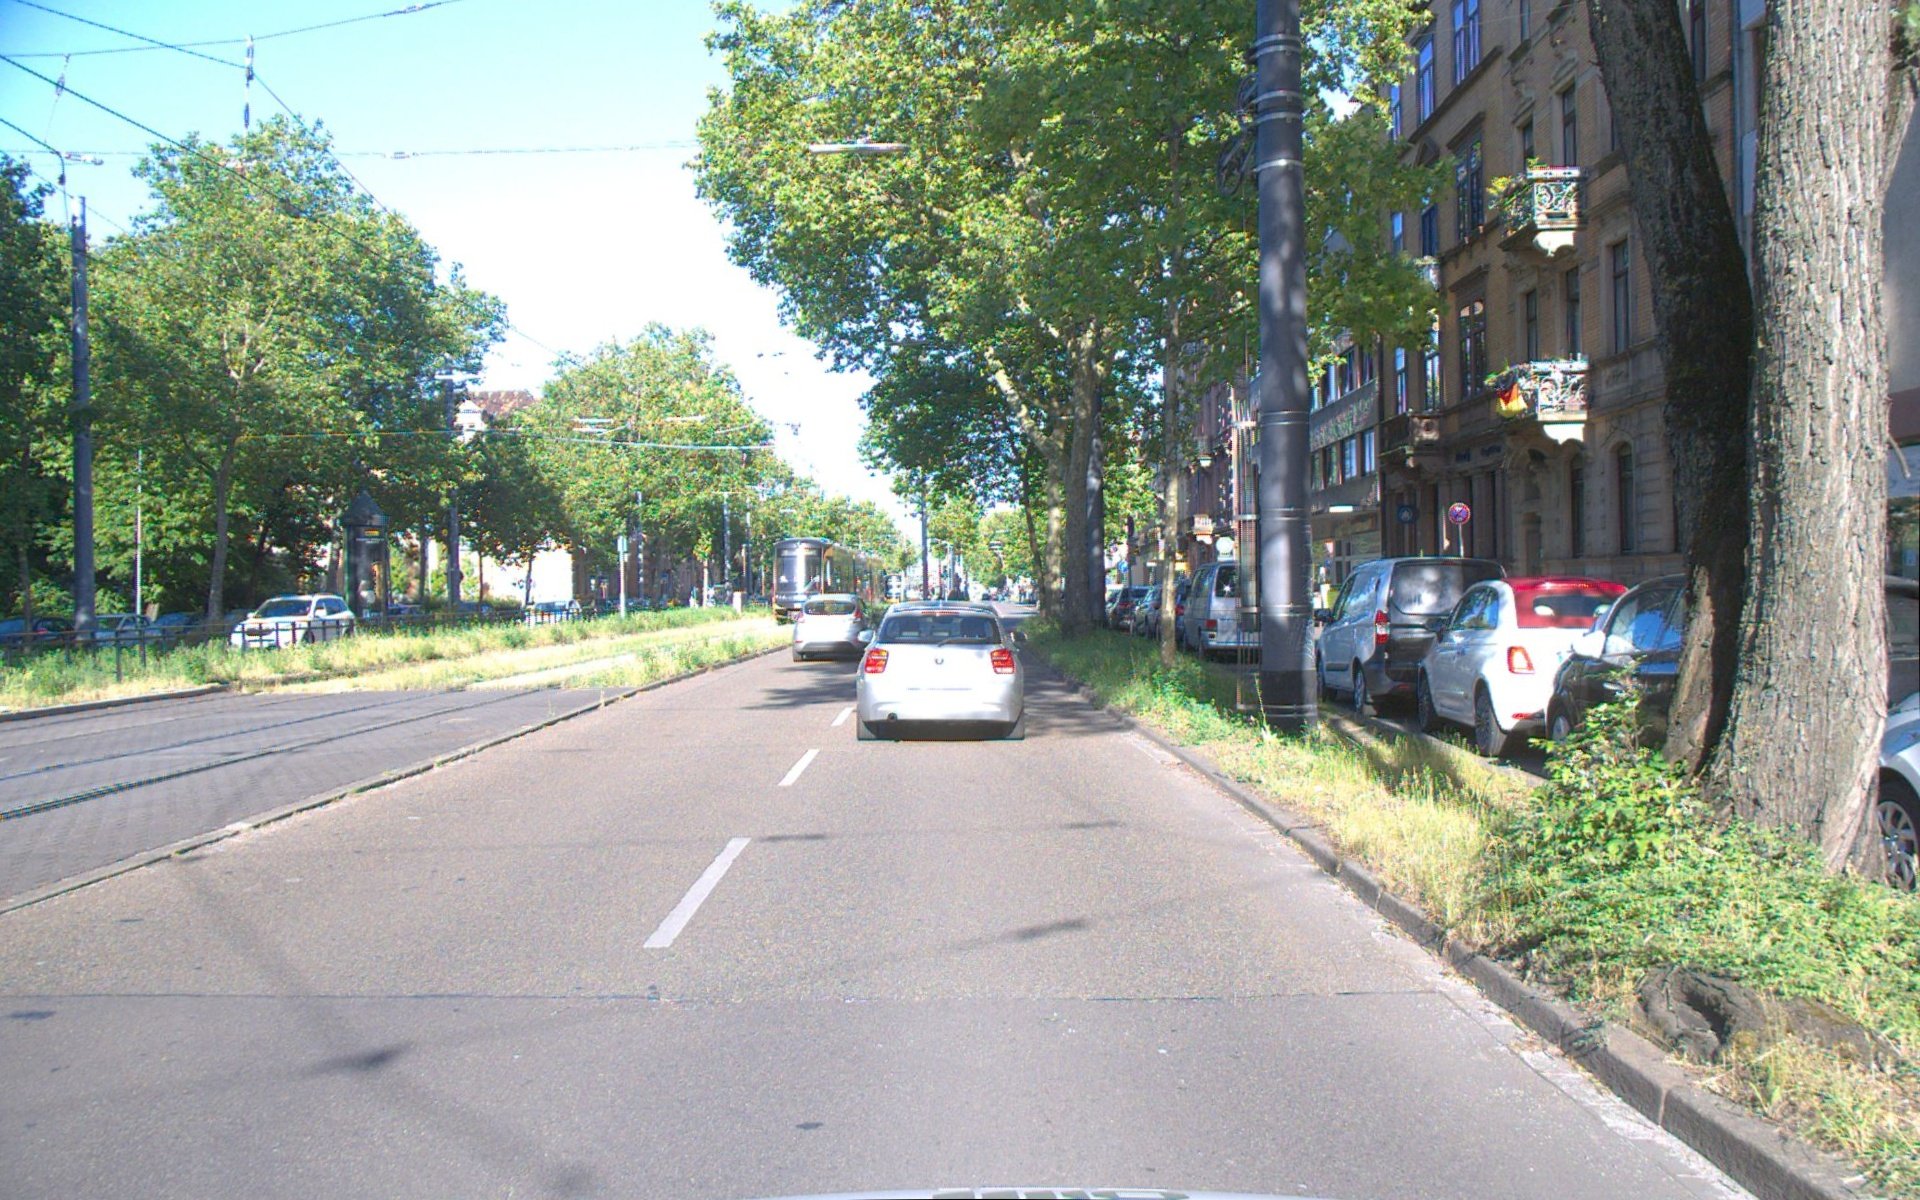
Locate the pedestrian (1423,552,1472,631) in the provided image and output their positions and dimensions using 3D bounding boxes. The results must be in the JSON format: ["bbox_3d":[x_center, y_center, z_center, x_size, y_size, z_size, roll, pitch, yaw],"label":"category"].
[{"bbox_3d":[11.759,-0.207,39.906,0.979,1.872,0.715,-1,0,3],"label":"pedestrian"}]

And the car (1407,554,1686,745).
[{"bbox_3d":[5.187,0.365,15.061,1.480,1.506,3.493,1,1,4],"label":"car"}]

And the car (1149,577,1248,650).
[{"bbox_3d":[5.367,0.262,37.619,1.669,1.528,4.358,1,1,1],"label":"car"}]

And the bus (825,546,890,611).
[{"bbox_3d":[-5.863,-1.242,96.270,2.810,3.504,11.613,-1,1,1],"label":"bus"}]

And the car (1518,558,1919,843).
[{"bbox_3d":[4.978,0.512,10.789,1.529,1.511,3.788,1,1,3],"label":"car"}]

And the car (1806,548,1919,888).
[{"bbox_3d":[5.069,0.553,6.425,1.593,1.502,3.697,1,1,-1],"label":"car"}]

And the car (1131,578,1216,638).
[{"bbox_3d":[5.654,0.188,44.280,1.643,1.492,4.670,1,0,0],"label":"car"}]

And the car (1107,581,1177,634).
[{"bbox_3d":[5.520,0.207,50.675,1.768,1.516,4.921,1,0,2],"label":"car"}]

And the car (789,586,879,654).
[{"bbox_3d":[-2.776,0.407,37.138,1.612,1.386,3.761,1,1,1],"label":"car"}]

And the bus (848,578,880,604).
[{"bbox_3d":[-14.387,-1.446,250.217,2.810,3.692,24.608,0,1,1],"label":"bus"}]

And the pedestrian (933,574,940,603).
[{"bbox_3d":[-1.587,-0.771,112.620,0.442,1.936,0.584,-1,0,-6],"label":"pedestrian"}]

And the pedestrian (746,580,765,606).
[{"bbox_3d":[-13.016,-0.433,105.359,1.154,1.672,0.891,-1,0,-6],"label":"pedestrian"}]

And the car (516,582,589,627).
[{"bbox_3d":[-15.087,0.152,61.442,1.807,1.556,3.874,1,1,-1],"label":"car"}]

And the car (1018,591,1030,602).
[{"bbox_3d":[9.050,-0.488,234.590,1.665,1.561,3.717,1,1,1],"label":"car"}]

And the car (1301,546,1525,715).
[{"bbox_3d":[5.041,0.276,18.921,1.591,1.697,4.143,1,1,3],"label":"car"}]

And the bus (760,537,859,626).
[{"bbox_3d":[-6.320,-0.807,71.642,2.810,3.504,13.219,-1,1,1],"label":"bus"}]

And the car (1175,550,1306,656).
[{"bbox_3d":[5.317,0.012,31.887,1.826,1.847,4.801,1,1,2],"label":"car"}]

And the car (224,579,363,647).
[{"bbox_3d":[-17.724,0.303,44.229,1.847,1.647,4.598,1,1,0],"label":"car"}]

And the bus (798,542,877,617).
[{"bbox_3d":[-6.102,-1.031,84.297,2.810,3.504,12.217,-1,1,1],"label":"bus"}]

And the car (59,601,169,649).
[{"bbox_3d":[-26.104,0.758,51.123,1.535,1.335,3.504,1,1,1],"label":"car"}]

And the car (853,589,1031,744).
[{"bbox_3d":[-0.171,0.643,18.292,1.726,1.457,4.000,1,1,0],"label":"car"}]
